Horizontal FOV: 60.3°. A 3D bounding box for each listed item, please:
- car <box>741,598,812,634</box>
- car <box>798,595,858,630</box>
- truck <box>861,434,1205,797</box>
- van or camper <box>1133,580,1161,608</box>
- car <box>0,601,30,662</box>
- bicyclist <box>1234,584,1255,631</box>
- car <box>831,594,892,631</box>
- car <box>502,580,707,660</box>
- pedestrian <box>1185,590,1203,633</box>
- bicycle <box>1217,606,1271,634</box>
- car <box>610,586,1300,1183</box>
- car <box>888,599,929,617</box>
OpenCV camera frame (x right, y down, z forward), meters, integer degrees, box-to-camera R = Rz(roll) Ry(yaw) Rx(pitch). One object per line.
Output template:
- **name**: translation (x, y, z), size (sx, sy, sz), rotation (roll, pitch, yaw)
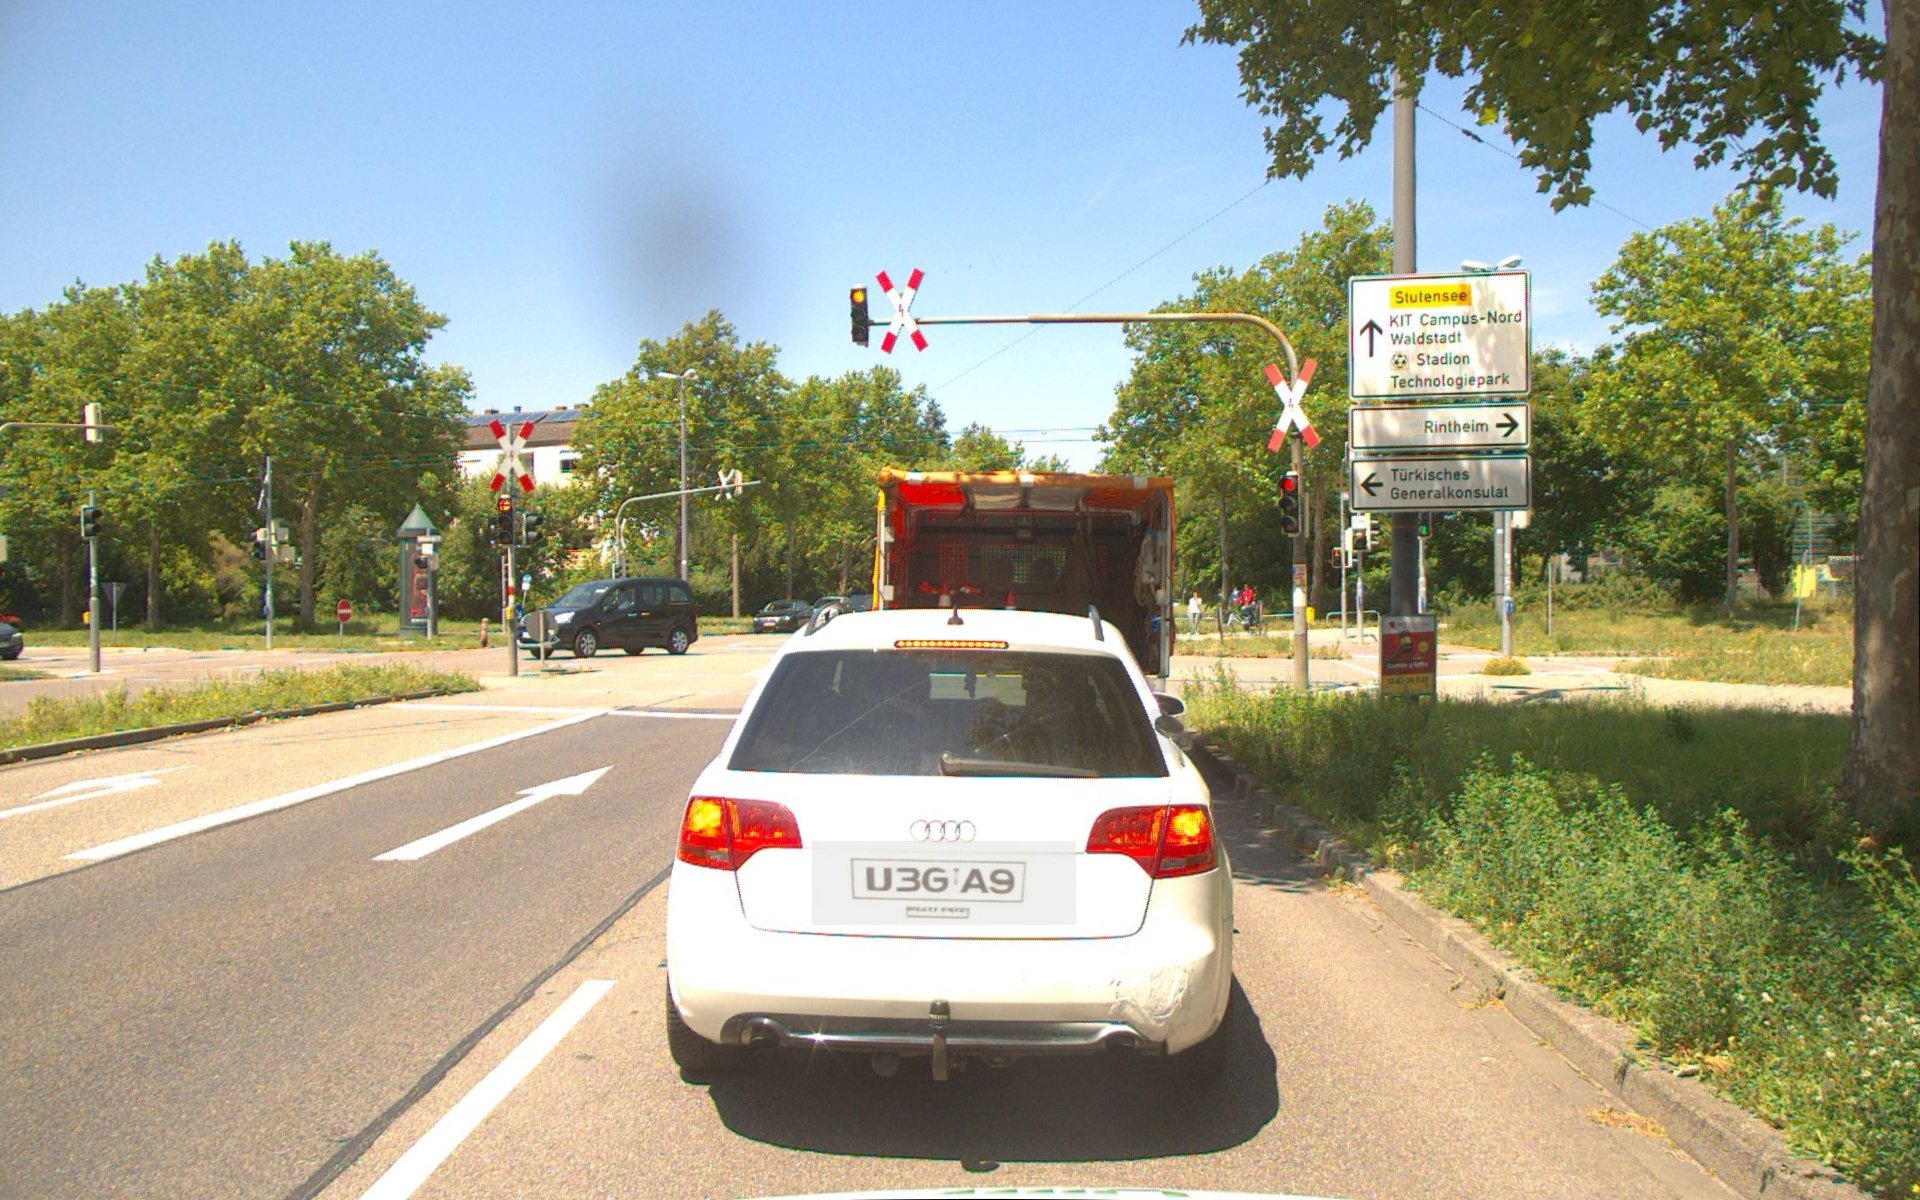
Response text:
- **car**: translation (-8.082, 0.684, 73.330), size (1.907, 1.465, 4.751), rotation (0, 1, 10)
- **car**: translation (-6.413, 0.595, 80.697), size (1.749, 1.643, 4.408), rotation (-1, 0, 11)
- **truck**: translation (0.686, 0.119, 15.836), size (2.459, 2.604, 7.605), rotation (1, 0, 2)
- **van or camper**: translation (22.668, -0.696, 200.139), size (2.604, 3.389, 5.505), rotation (0, 0, 14)
- **car**: translation (-25.481, 0.797, 41.827), size (3.907, 1.483, 1.760), rotation (0, 0, 32)
- **bicyclist**: translation (9.602, 0.246, 55.902), size (0.657, 1.583, 0.580), rotation (-1, 0, 7)
- **car**: translation (-4.384, 0.527, 74.052), size (1.868, 1.566, 4.302), rotation (-1, 0, 8)
- **car**: translation (-8.056, 0.410, 37.822), size (1.881, 1.708, 4.423), rotation (-1, 0, 38)
- **pedestrian**: translation (8.289, 0.402, 58.600), size (0.541, 1.510, 0.630), rotation (-1, 0, 16)
- **bicycle**: translation (9.602, 0.669, 55.901), size (1.767, 0.911, 0.589), rotation (-1, 0, 7)
- **car**: translation (0.085, 0.699, 5.960), size (1.725, 1.470, 3.617), rotation (0, 0, 3)
- **car**: translation (-4.330, 0.653, 139.139), size (1.844, 1.417, 3.997), rotation (0, 0, 26)
